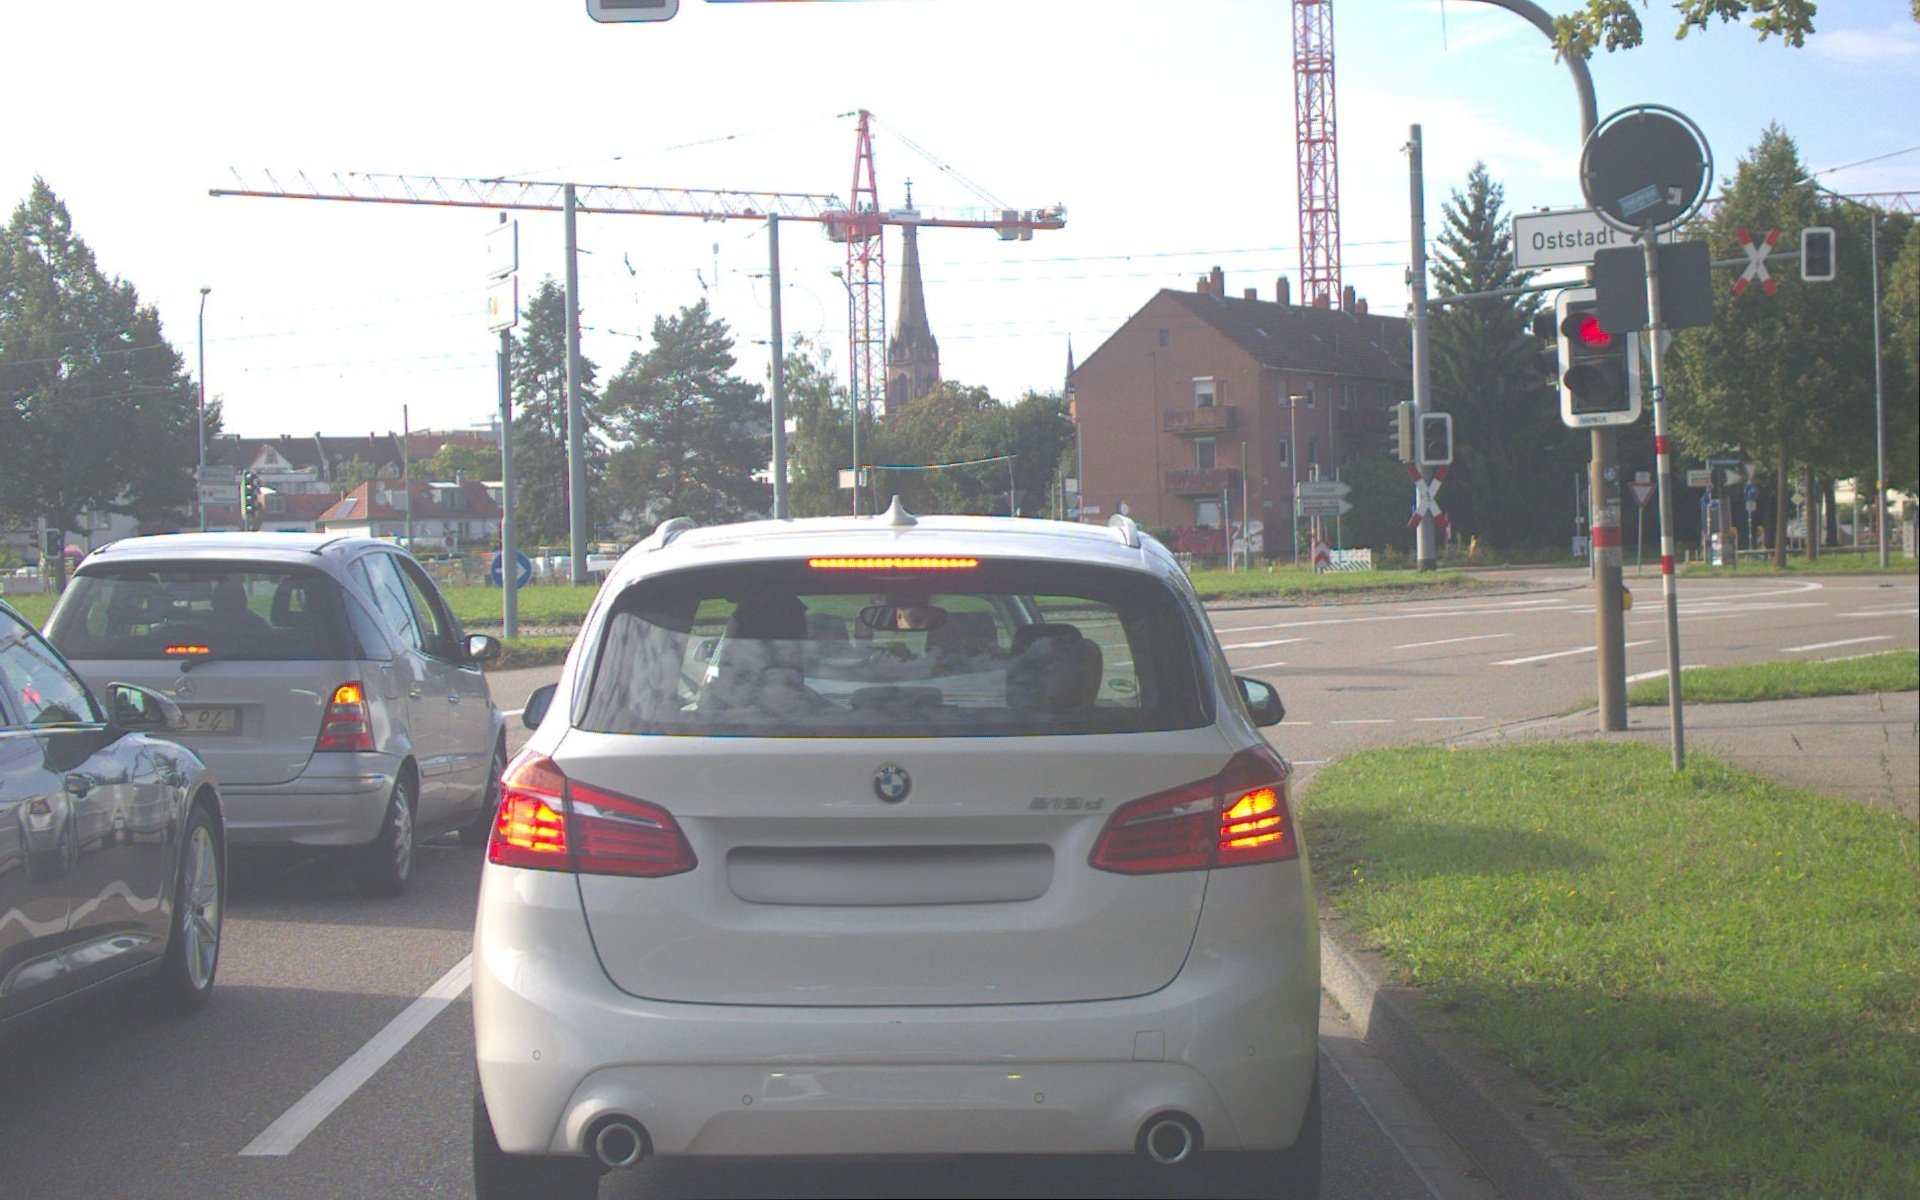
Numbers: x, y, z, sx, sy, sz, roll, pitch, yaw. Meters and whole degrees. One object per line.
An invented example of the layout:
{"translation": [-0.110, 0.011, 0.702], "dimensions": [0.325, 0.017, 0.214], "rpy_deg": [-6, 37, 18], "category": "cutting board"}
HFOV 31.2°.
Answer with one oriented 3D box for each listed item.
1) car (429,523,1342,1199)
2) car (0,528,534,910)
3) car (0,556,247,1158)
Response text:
{"translation": [-0.169, 0.597, 8.555], "dimensions": [1.729, 1.553, 4.058], "rpy_deg": [0, 1, -1], "category": "car"}
{"translation": [-3.097, 0.449, 16.033], "dimensions": [1.729, 1.553, 4.058], "rpy_deg": [0, 1, 0], "category": "car"}
{"translation": [-3.309, 0.621, 9.233], "dimensions": [1.890, 1.478, 4.613], "rpy_deg": [0, 1, -1], "category": "car"}
